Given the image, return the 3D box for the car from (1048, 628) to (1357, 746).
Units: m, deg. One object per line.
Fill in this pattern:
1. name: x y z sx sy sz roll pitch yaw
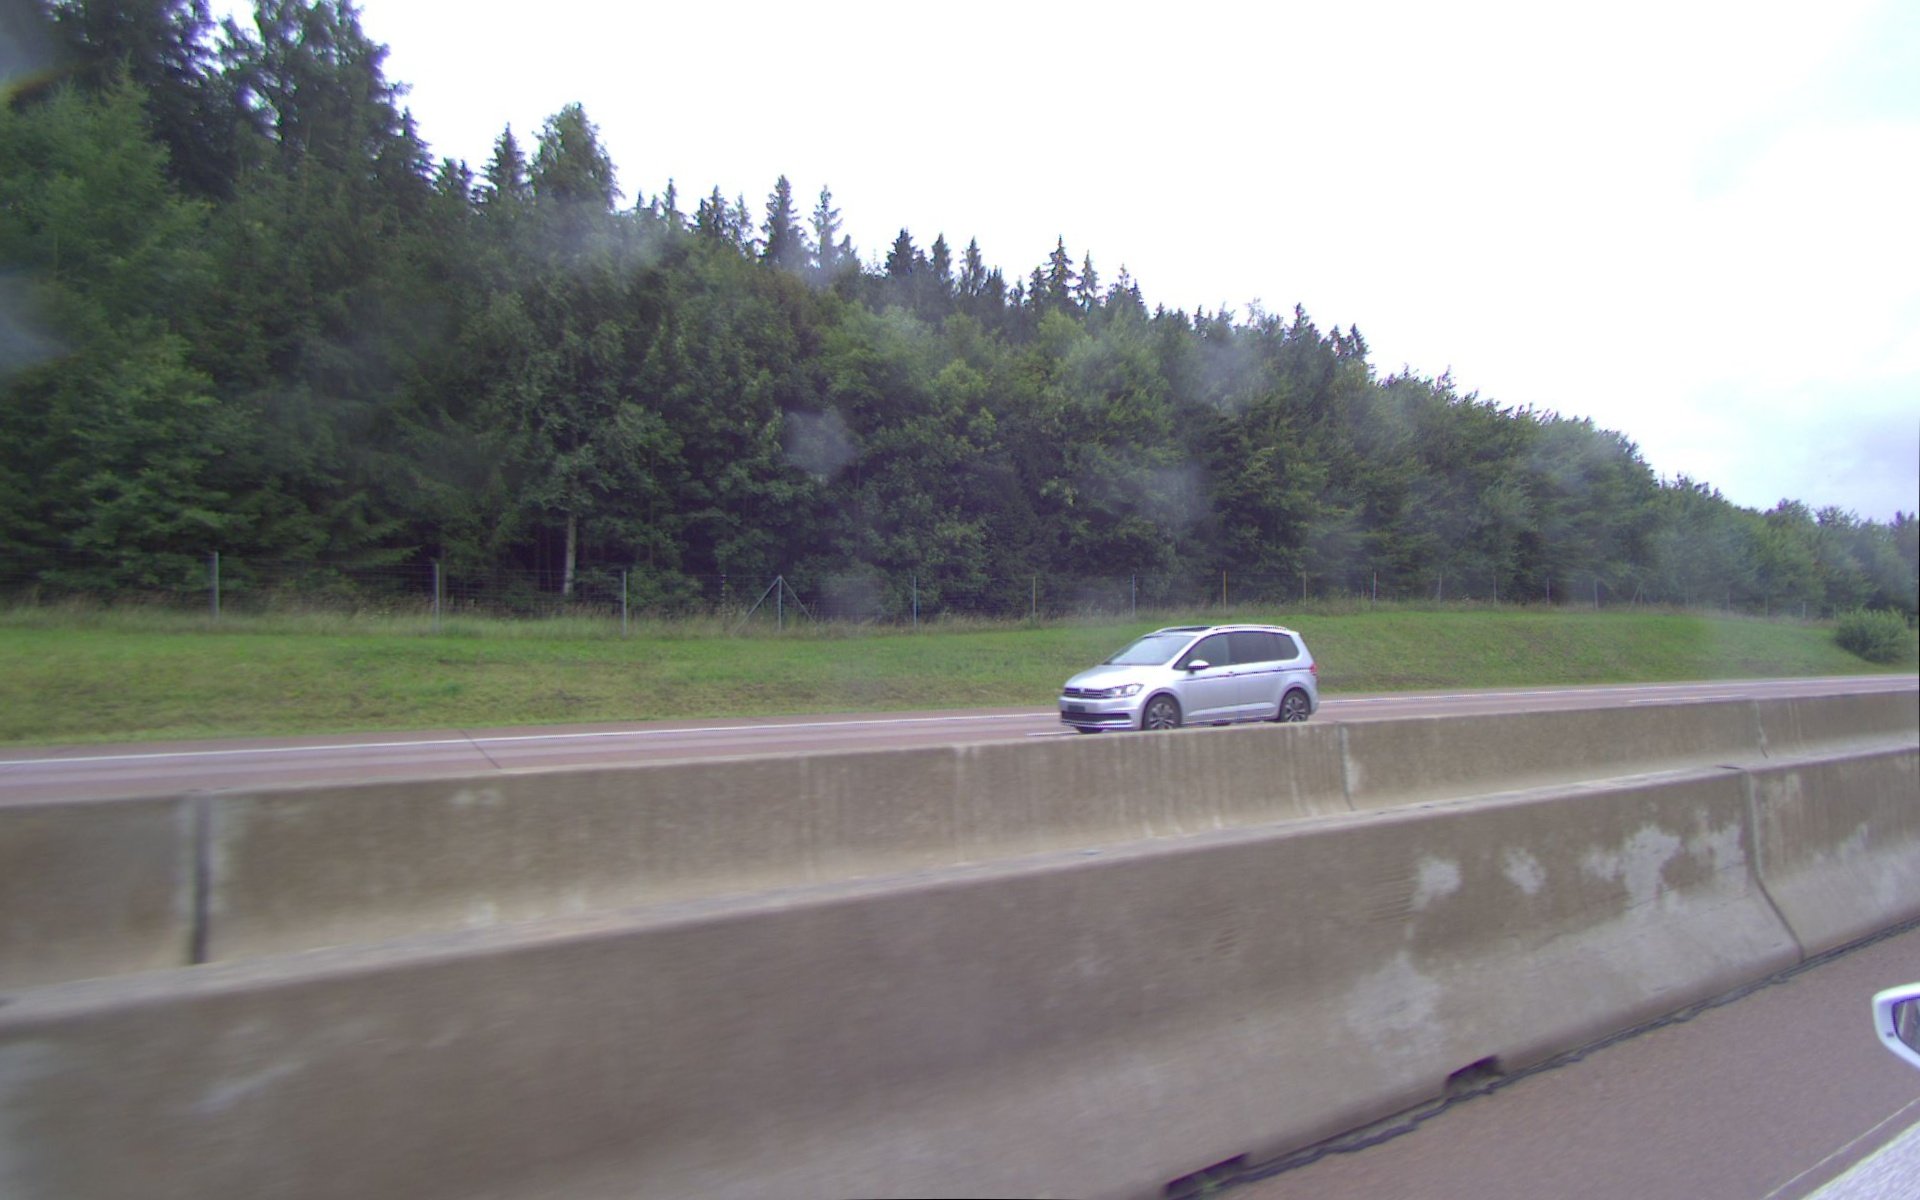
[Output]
1. car: 3.824 1.262 15.544 4.810 1.577 1.780 2 -3 -31
